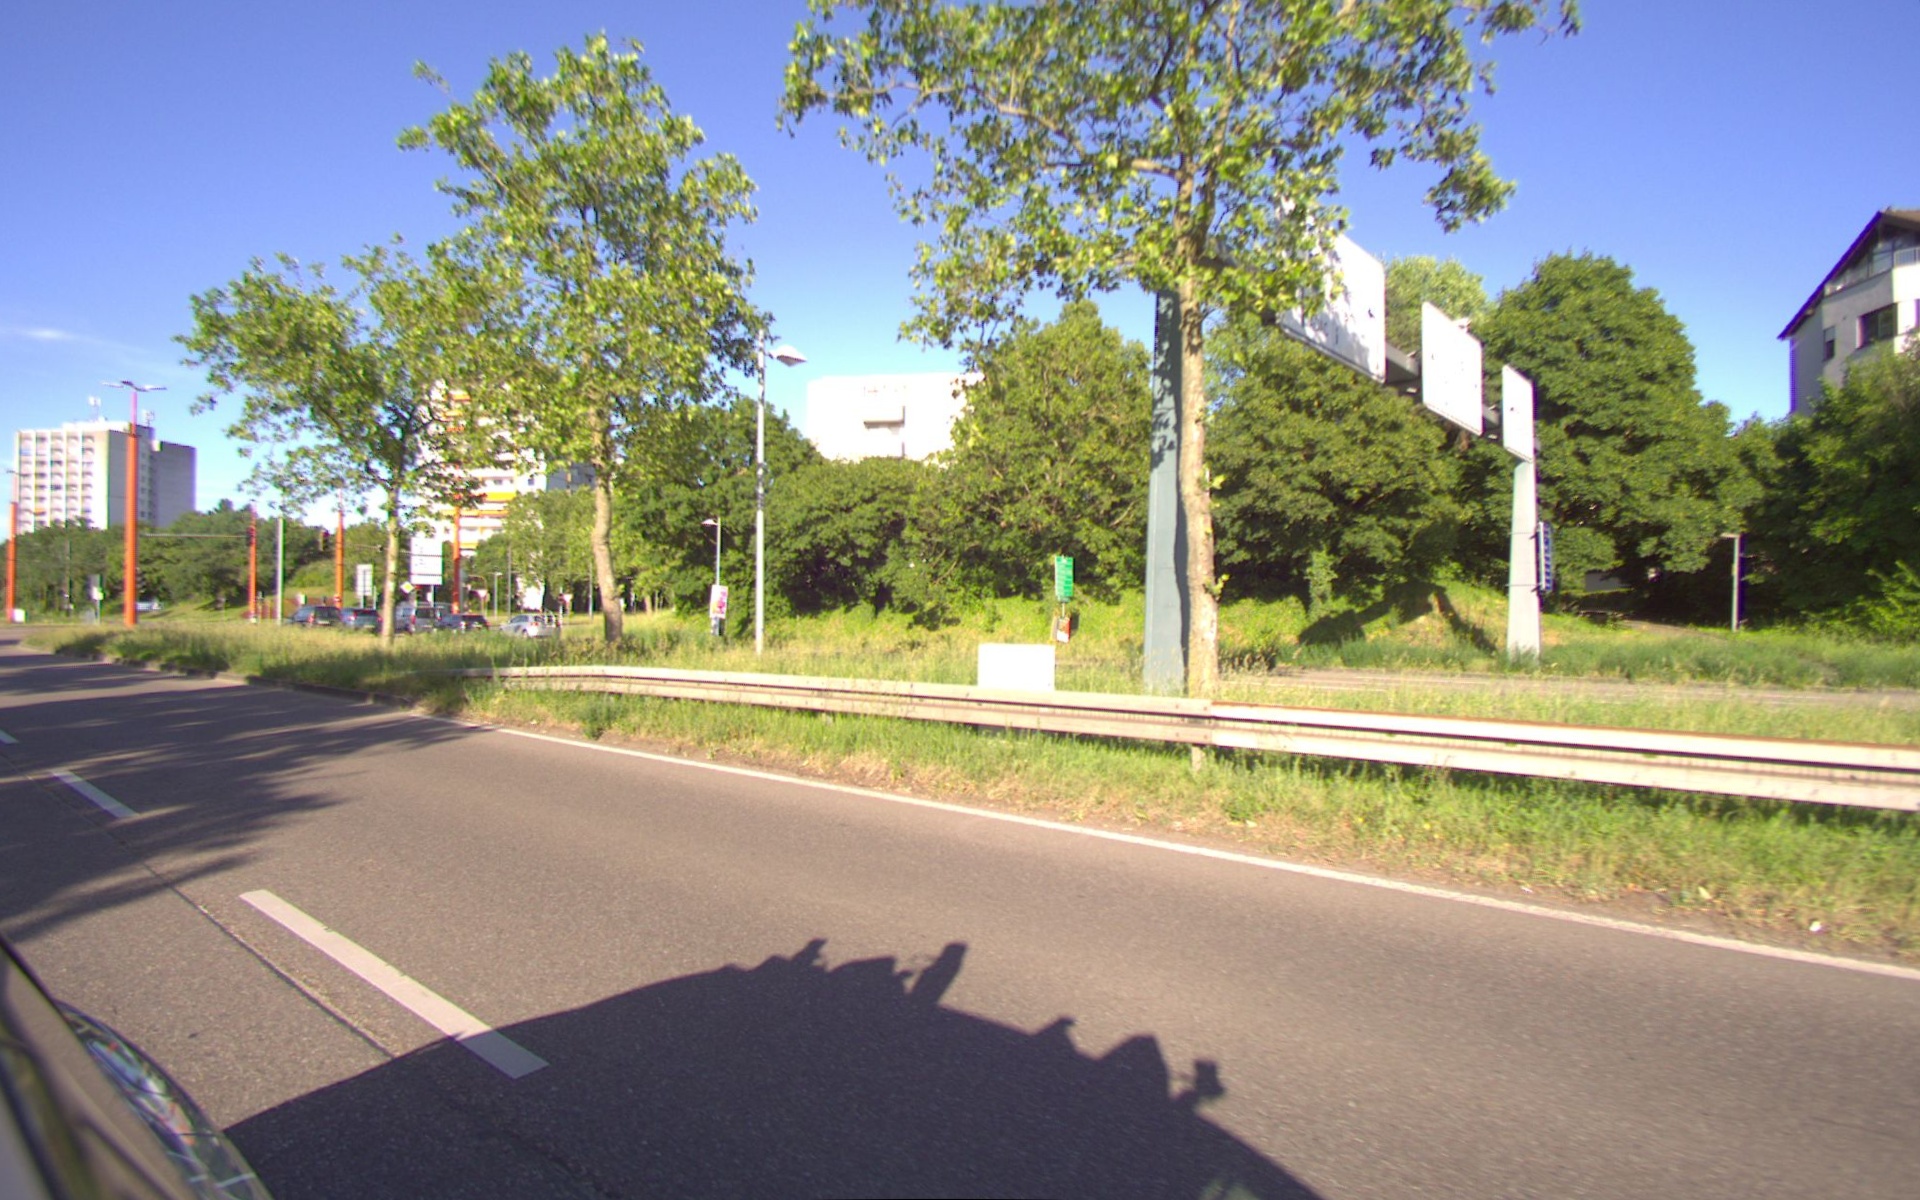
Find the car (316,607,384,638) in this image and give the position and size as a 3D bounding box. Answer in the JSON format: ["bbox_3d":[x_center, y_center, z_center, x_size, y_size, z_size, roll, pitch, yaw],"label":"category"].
[{"bbox_3d":[-34.095,1.275,56.540,4.562,1.623,1.879,-1,-3,40],"label":"car"}]

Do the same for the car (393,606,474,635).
[{"bbox_3d":[-42.388,1.641,81.505,5.568,2.221,2.046,0,-1,-36],"label":"car"}]

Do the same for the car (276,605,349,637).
[{"bbox_3d":[-33.154,1.091,51.777,4.562,1.577,1.879,-1,-3,40],"label":"car"}]

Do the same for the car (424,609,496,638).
[{"bbox_3d":[-27.505,1.308,55.607,4.562,1.485,1.879,-1,-3,40],"label":"car"}]

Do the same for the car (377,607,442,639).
[{"bbox_3d":[-32.636,1.362,60.002,4.443,1.789,1.879,-1,-3,40],"label":"car"}]

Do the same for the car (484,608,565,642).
[{"bbox_3d":[-22.036,1.276,51.137,4.562,1.623,1.879,-1,-3,40],"label":"car"}]
